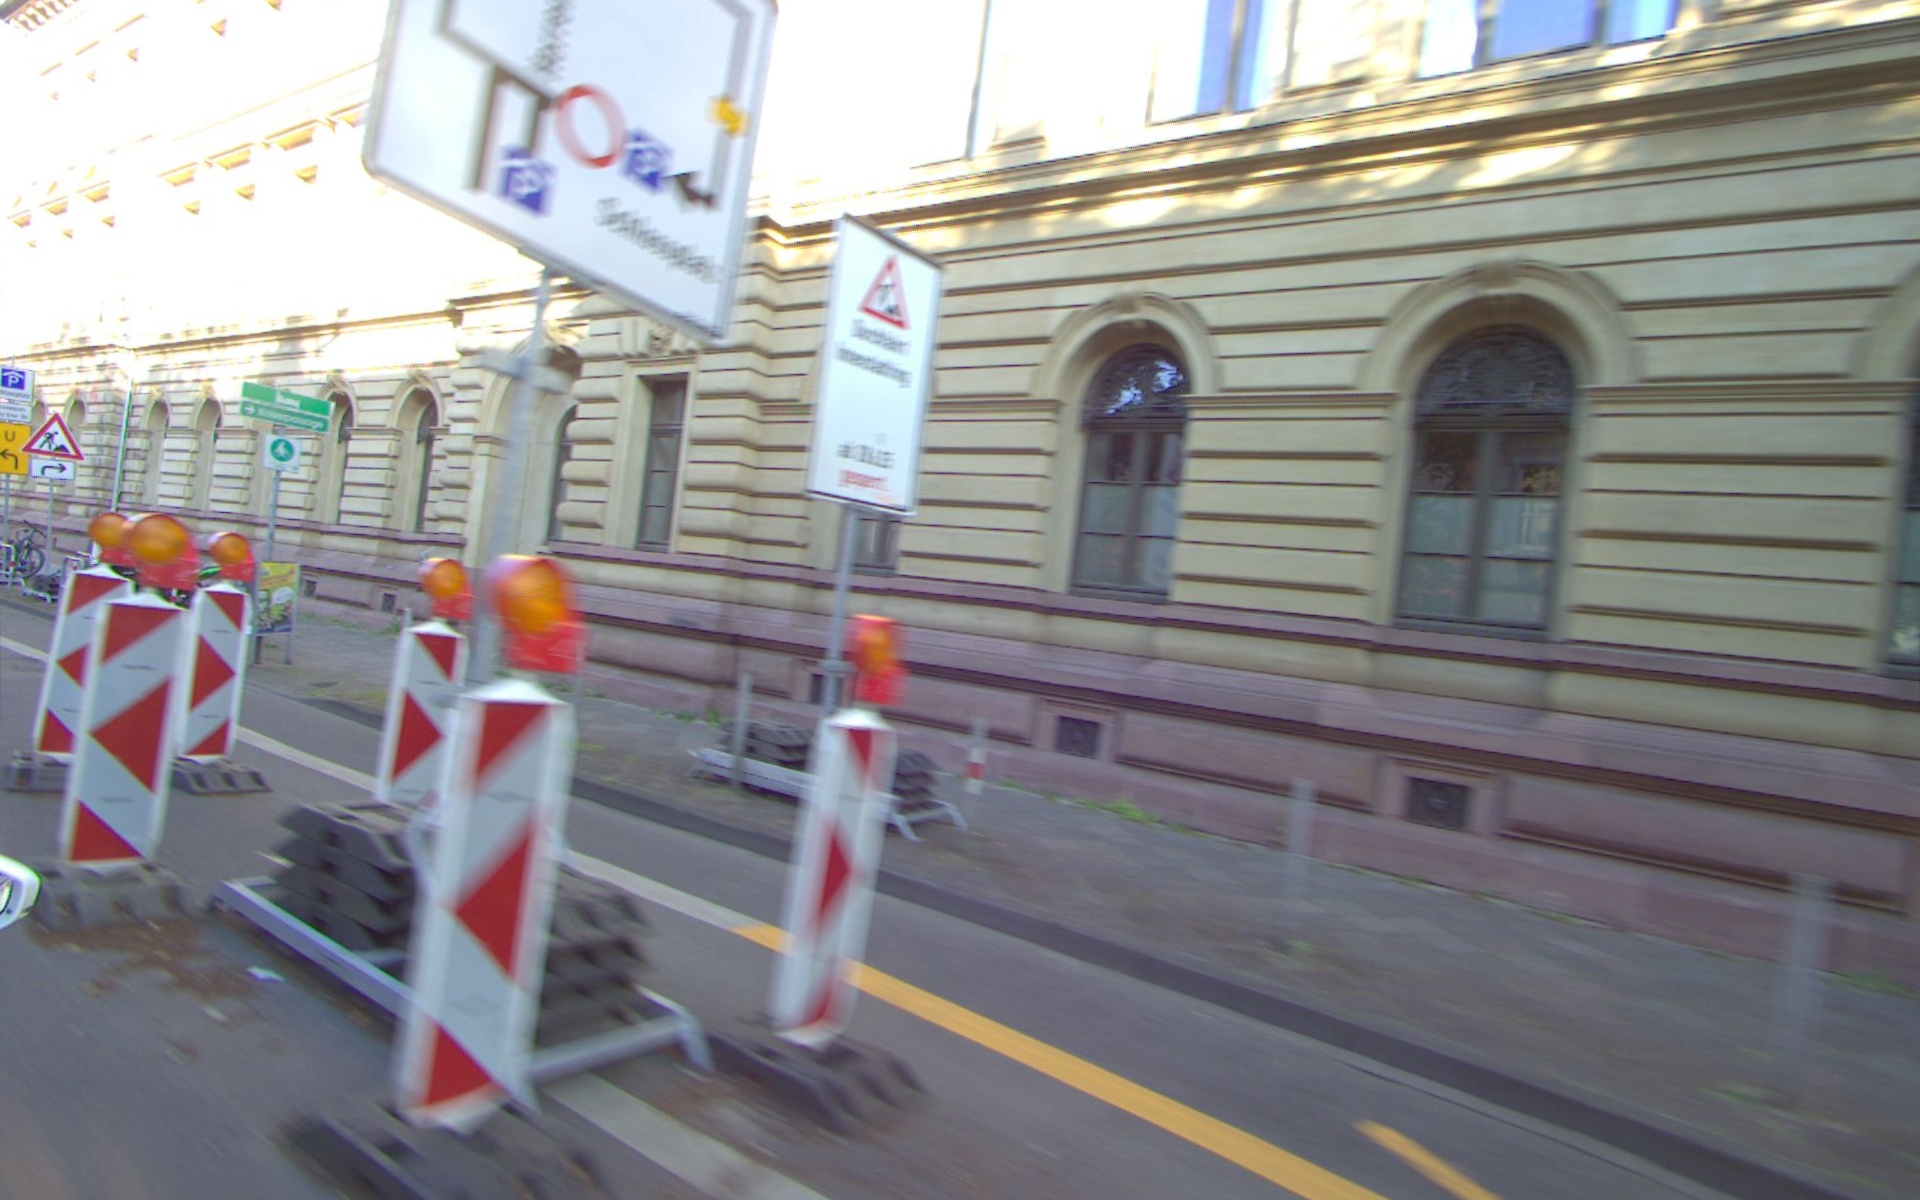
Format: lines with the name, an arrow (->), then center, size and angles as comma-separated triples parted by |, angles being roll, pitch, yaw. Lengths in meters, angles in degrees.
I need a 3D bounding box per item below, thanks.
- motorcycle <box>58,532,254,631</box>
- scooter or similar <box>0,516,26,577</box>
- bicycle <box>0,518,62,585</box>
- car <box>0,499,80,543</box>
motorcycle -> -11.754, -0.261, 14.799 | 2.079, 1.230, 0.705 | 6, 1, -28
scooter or similar -> -19.961, -1.154, 20.559 | 0.575, 1.209, 1.129 | 7, -1, 40
bicycle -> -18.594, -0.981, 19.834 | 1.913, 1.149, 0.827 | 7, 2, 33
car -> -41.601, -3.600, 43.571 | 1.806, 1.564, 4.836 | 7, 0, 32
